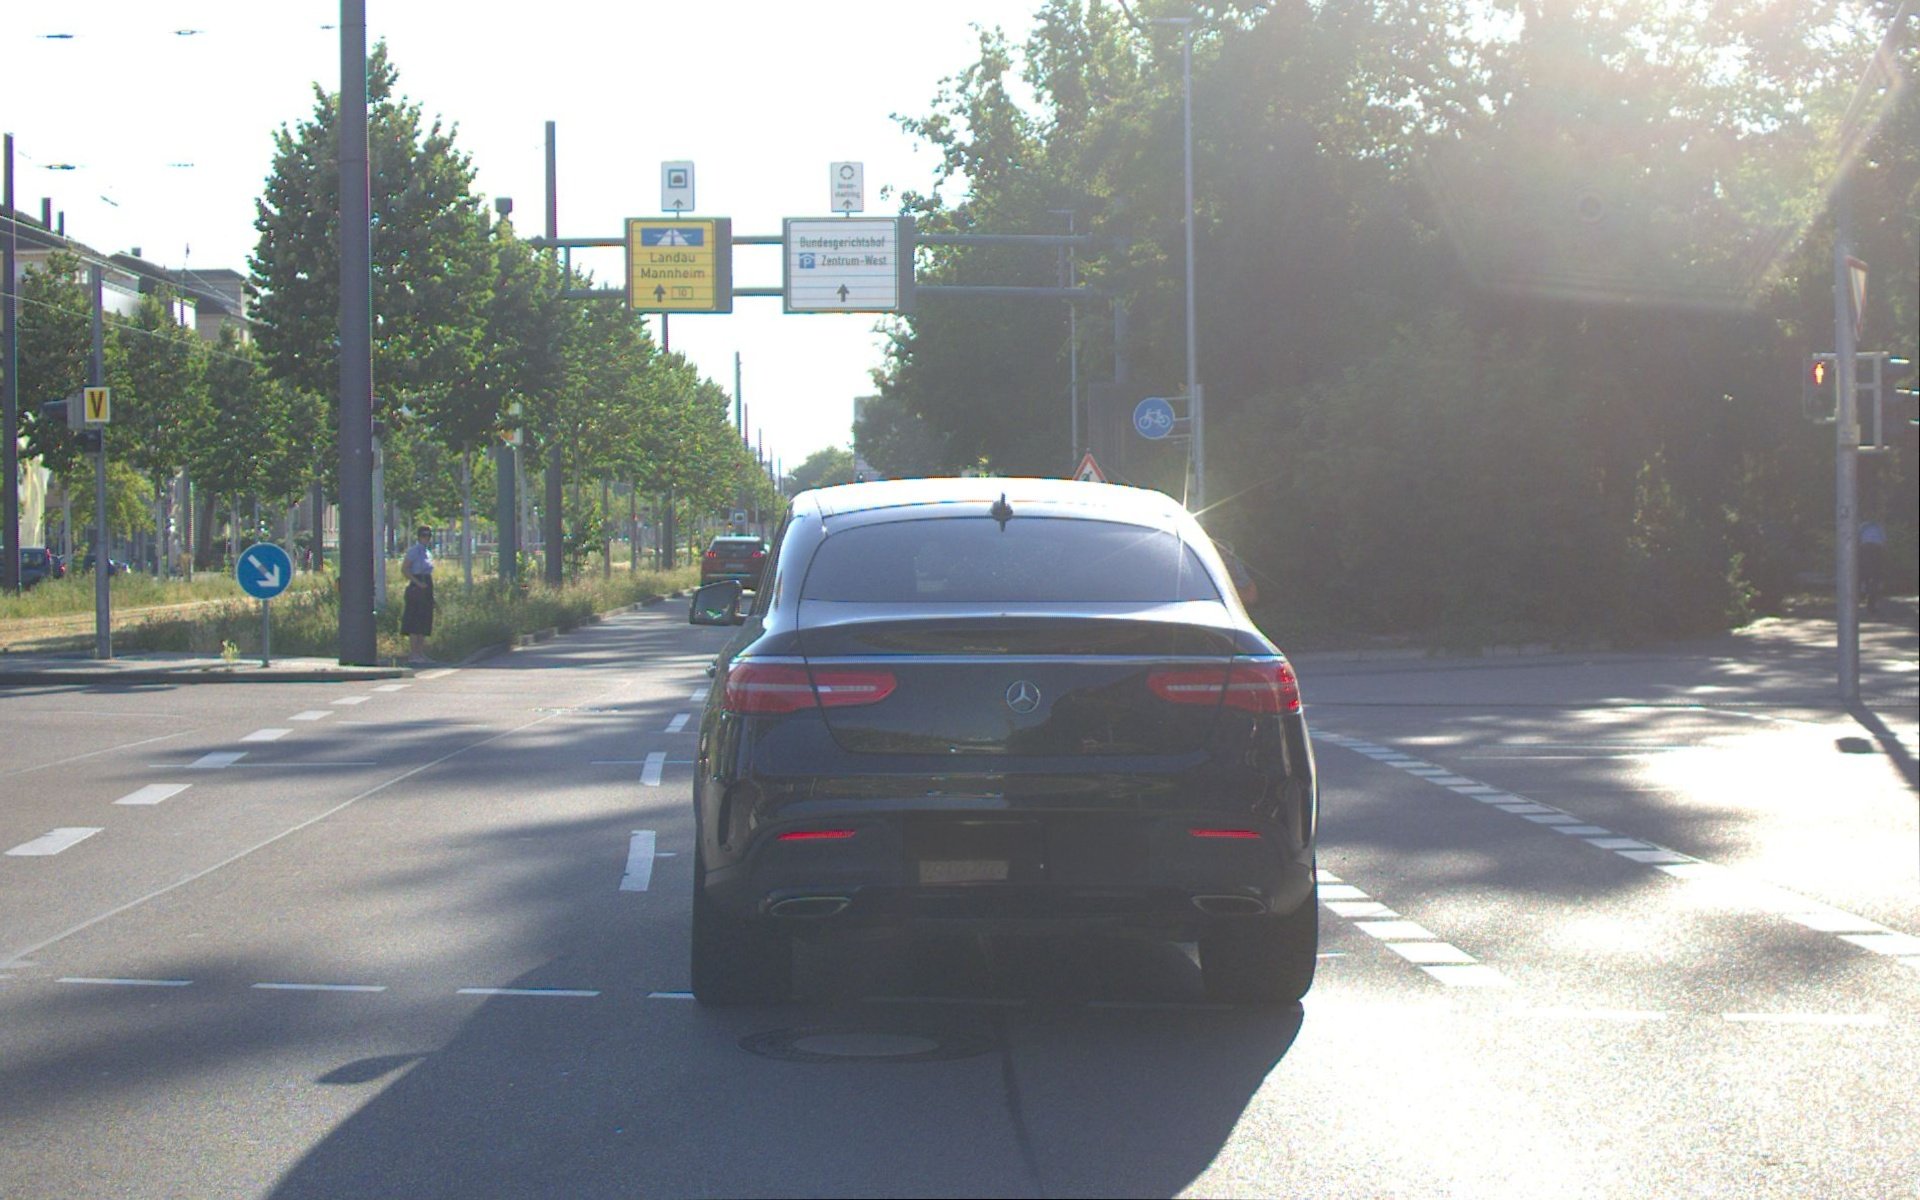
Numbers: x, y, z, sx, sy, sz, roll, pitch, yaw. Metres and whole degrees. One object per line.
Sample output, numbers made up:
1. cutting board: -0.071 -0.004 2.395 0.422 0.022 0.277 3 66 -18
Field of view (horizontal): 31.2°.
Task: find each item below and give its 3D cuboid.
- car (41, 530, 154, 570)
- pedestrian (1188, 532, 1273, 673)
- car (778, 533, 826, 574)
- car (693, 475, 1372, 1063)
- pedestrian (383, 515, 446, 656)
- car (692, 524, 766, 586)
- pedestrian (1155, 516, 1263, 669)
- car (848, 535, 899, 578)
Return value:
1. car: -35.075 -2.021 139.903 3.989 1.557 1.999 0 1 -43
2. pedestrian: 3.207 0.021 40.737 0.766 1.631 0.770 -3 1 -11
3. car: -6.361 -1.885 138.429 1.885 1.575 4.001 1 2 -2
4. car: 0.107 0.444 12.167 1.993 1.728 4.001 0 2 -3
5. pedestrian: -6.624 -0.177 41.780 0.598 1.693 0.714 0 1 4
6. car: -6.166 -1.235 92.136 1.885 1.575 4.001 1 2 -2
7. pedestrian: 3.004 -0.095 41.512 0.857 1.796 0.907 -3 2 -36
8. car: -3.320 -1.676 131.467 1.885 1.575 4.001 1 2 -2
